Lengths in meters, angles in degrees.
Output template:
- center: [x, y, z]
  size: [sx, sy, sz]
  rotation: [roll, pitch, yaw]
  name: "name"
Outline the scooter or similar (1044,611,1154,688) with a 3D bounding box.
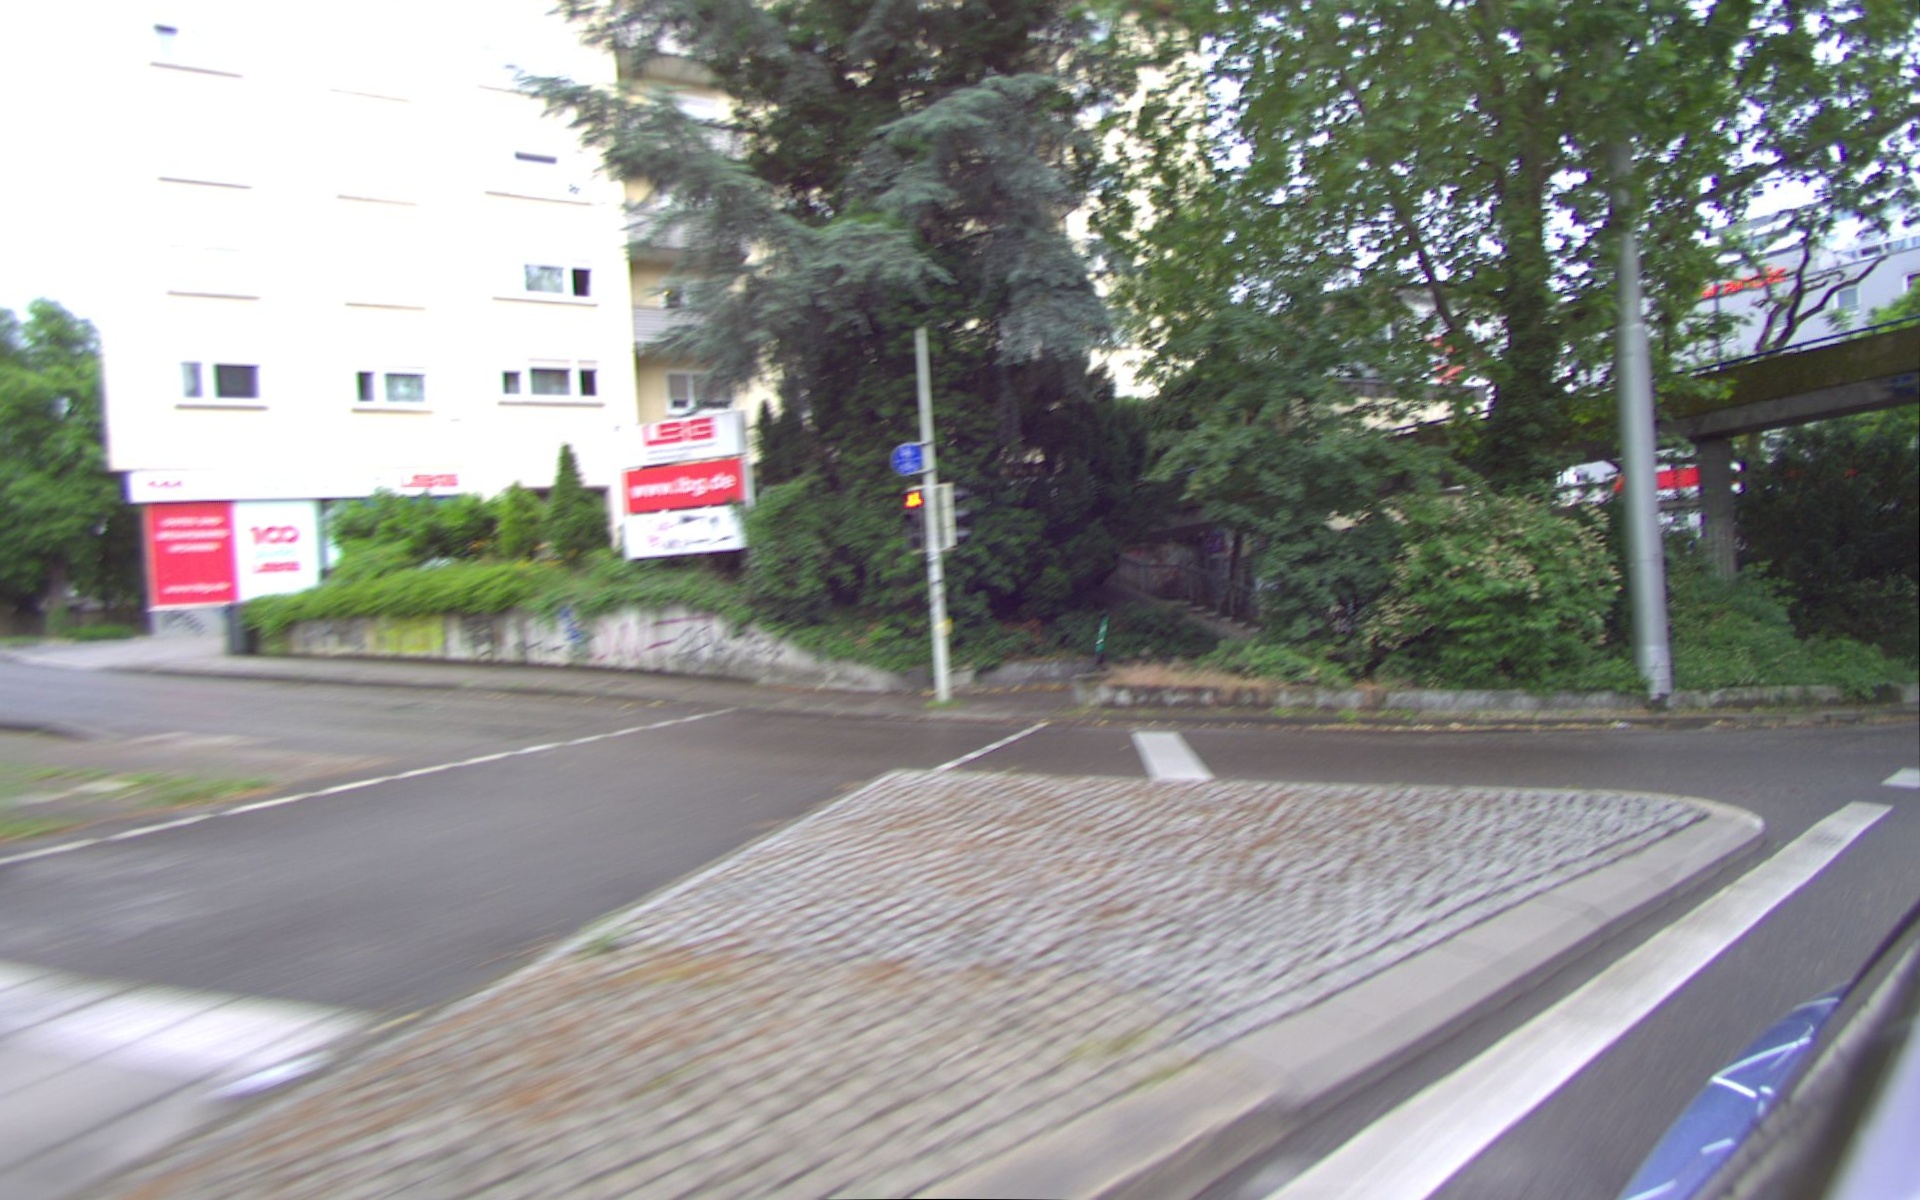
- center: [2.354, 0.804, 17.015]
  size: [1.882, 1.233, 0.602]
  rotation: [0, 0, -33]
  name: "scooter or similar"
